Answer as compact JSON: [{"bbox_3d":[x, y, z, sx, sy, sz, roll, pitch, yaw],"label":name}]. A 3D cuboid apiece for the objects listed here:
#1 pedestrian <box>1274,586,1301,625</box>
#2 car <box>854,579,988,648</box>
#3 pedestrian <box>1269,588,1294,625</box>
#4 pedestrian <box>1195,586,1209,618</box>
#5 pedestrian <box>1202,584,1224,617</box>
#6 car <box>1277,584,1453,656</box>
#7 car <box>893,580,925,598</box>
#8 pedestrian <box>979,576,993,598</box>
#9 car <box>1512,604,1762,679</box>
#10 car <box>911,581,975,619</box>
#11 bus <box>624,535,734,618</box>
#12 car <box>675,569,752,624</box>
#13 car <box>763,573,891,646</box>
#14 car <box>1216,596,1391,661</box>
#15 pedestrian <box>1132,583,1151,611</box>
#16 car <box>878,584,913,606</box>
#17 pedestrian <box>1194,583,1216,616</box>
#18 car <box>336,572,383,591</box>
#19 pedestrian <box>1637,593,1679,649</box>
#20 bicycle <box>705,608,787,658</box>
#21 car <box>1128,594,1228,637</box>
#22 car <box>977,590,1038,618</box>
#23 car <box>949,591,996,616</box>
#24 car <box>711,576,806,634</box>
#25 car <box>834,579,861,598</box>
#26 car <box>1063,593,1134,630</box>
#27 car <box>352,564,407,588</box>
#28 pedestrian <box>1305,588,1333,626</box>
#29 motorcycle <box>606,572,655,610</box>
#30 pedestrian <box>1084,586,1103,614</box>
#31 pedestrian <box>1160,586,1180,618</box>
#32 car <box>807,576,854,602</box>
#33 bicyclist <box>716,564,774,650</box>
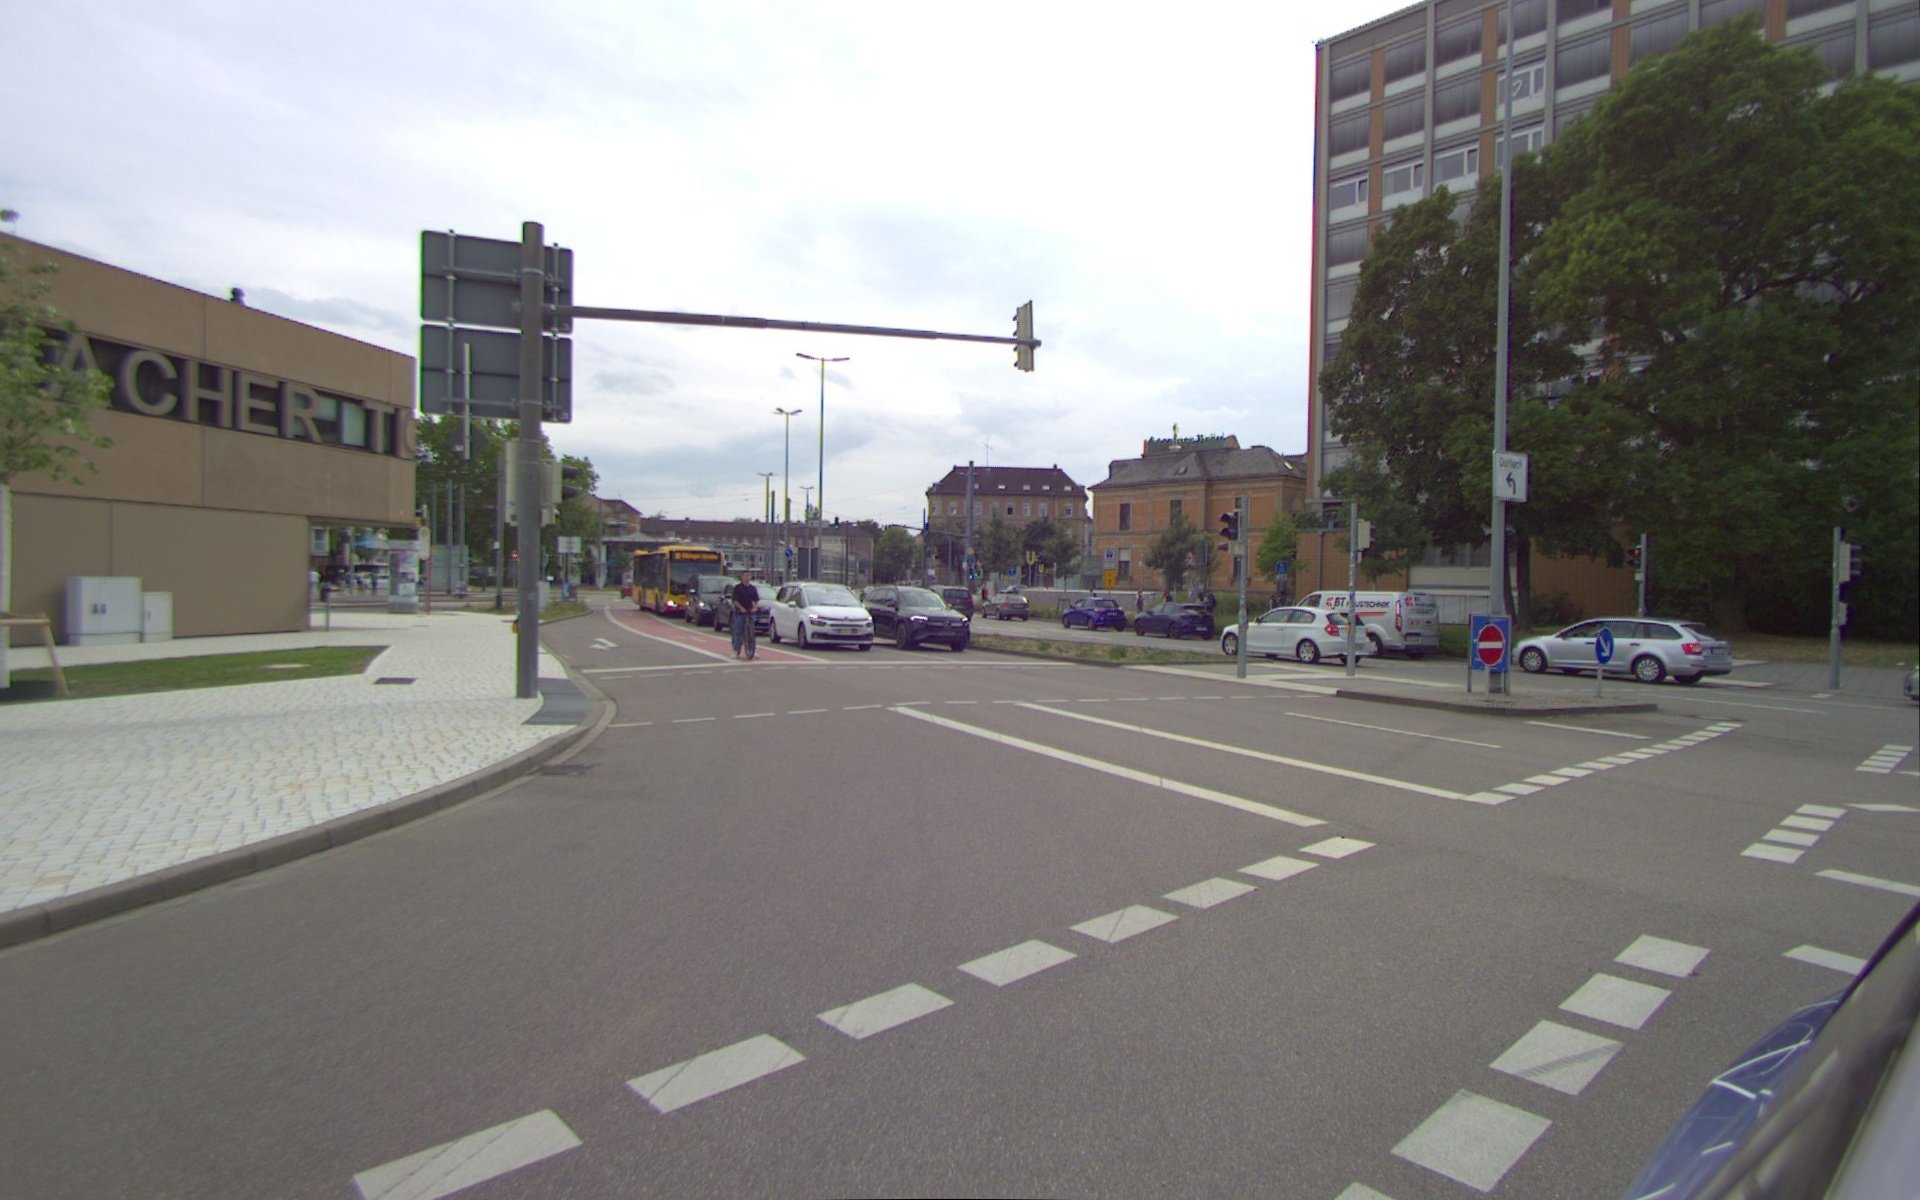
[{"bbox_3d":[13.810,0.215,42.674,0.764,1.593,0.814,-1,1,-17],"label":"pedestrian"},{"bbox_3d":[-1.154,0.322,27.478,1.958,1.672,4.520,2,0,-25],"label":"car"},{"bbox_3d":[14.267,0.271,44.897,0.764,1.593,0.814,0,1,-14],"label":"pedestrian"},{"bbox_3d":[11.801,0.092,49.293,0.546,1.555,0.544,0,1,30],"label":"pedestrian"},{"bbox_3d":[12.651,0.009,50.548,0.764,1.593,0.814,0,1,-14],"label":"pedestrian"},{"bbox_3d":[12.264,0.544,31.083,1.787,1.984,5.214,2,0,-24],"label":"car"},{"bbox_3d":[-4.408,-0.967,87.014,1.673,1.438,3.708,2,0,-20],"label":"car"},{"bbox_3d":[1.888,-0.952,73.398,0.764,1.593,0.814,0,1,-14],"label":"pedestrian"},{"bbox_3d":[15.673,0.921,23.710,1.788,1.493,4.534,3,0,-29],"label":"car"},{"bbox_3d":[-0.882,-0.013,49.058,1.723,1.671,4.696,2,0,-19],"label":"car"},{"bbox_3d":[-13.618,-1.033,48.082,3.092,3.296,12.436,2,0,-24],"label":"bus"},{"bbox_3d":[-9.462,-0.148,38.658,1.958,1.923,4.297,3,0,-25],"label":"car"},{"bbox_3d":[-3.515,0.219,26.044,1.958,1.672,4.297,2,0,-25],"label":"car"},{"bbox_3d":[8.750,0.681,26.153,1.724,1.476,4.229,3,0,-28],"label":"car"},{"bbox_3d":[10.290,-0.169,57.444,0.764,1.593,0.814,0,1,-14],"label":"pedestrian"},{"bbox_3d":[-4.636,-0.359,72.571,1.680,1.438,4.008,2,0,-15],"label":"car"},{"bbox_3d":[11.944,-0.048,49.384,0.764,1.593,0.814,0,1,-14],"label":"pedestrian"},{"bbox_3d":[-61.642,-1.902,103.942,3.918,1.705,1.608,2,-1,-27],"label":"car"},{"bbox_3d":[20.710,0.605,30.034,0.766,1.593,0.812,-1,1,-37],"label":"pedestrian"},{"bbox_3d":[-4.381,0.655,20.536,0.847,0.888,2.521,3,0,-30],"label":"bicycle"},{"bbox_3d":[8.588,0.592,40.192,1.825,1.552,4.009,2,0,-24],"label":"car"},{"bbox_3d":[2.597,0.195,56.118,2.094,1.438,3.708,2,0,-20],"label":"car"},{"bbox_3d":[0.721,0.194,62.142,1.673,1.438,3.708,2,0,-20],"label":"car"},{"bbox_3d":[-6.555,0.131,32.594,1.958,1.672,4.297,2,0,-25],"label":"car"},{"bbox_3d":[-8.743,-0.881,78.375,1.665,1.422,3.707,2,0,-12],"label":"car"},{"bbox_3d":[6.248,0.500,46.053,1.636,1.527,3.642,2,0,-20],"label":"car"},{"bbox_3d":[-49.309,-2.018,86.063,3.919,1.878,2.002,3,-1,-29],"label":"car"},{"bbox_3d":[15.249,0.275,43.010,0.764,1.593,0.814,-1,1,-17],"label":"pedestrian"},{"bbox_3d":[-18.819,-0.517,57.696,1.959,2.039,4.006,3,0,-27],"label":"motorcycle"},{"bbox_3d":[7.495,-0.004,56.851,0.764,1.593,0.814,0,1,-14],"label":"pedestrian"},{"bbox_3d":[10.836,0.103,52.204,0.764,1.593,0.814,0,1,-14],"label":"pedestrian"},{"bbox_3d":[-8.200,-0.707,63.785,1.638,1.508,3.444,2,0,-32],"label":"car"},{"bbox_3d":[-4.367,0.149,20.541,0.852,1.690,0.882,3,-1,-31],"label":"bicyclist"}]
